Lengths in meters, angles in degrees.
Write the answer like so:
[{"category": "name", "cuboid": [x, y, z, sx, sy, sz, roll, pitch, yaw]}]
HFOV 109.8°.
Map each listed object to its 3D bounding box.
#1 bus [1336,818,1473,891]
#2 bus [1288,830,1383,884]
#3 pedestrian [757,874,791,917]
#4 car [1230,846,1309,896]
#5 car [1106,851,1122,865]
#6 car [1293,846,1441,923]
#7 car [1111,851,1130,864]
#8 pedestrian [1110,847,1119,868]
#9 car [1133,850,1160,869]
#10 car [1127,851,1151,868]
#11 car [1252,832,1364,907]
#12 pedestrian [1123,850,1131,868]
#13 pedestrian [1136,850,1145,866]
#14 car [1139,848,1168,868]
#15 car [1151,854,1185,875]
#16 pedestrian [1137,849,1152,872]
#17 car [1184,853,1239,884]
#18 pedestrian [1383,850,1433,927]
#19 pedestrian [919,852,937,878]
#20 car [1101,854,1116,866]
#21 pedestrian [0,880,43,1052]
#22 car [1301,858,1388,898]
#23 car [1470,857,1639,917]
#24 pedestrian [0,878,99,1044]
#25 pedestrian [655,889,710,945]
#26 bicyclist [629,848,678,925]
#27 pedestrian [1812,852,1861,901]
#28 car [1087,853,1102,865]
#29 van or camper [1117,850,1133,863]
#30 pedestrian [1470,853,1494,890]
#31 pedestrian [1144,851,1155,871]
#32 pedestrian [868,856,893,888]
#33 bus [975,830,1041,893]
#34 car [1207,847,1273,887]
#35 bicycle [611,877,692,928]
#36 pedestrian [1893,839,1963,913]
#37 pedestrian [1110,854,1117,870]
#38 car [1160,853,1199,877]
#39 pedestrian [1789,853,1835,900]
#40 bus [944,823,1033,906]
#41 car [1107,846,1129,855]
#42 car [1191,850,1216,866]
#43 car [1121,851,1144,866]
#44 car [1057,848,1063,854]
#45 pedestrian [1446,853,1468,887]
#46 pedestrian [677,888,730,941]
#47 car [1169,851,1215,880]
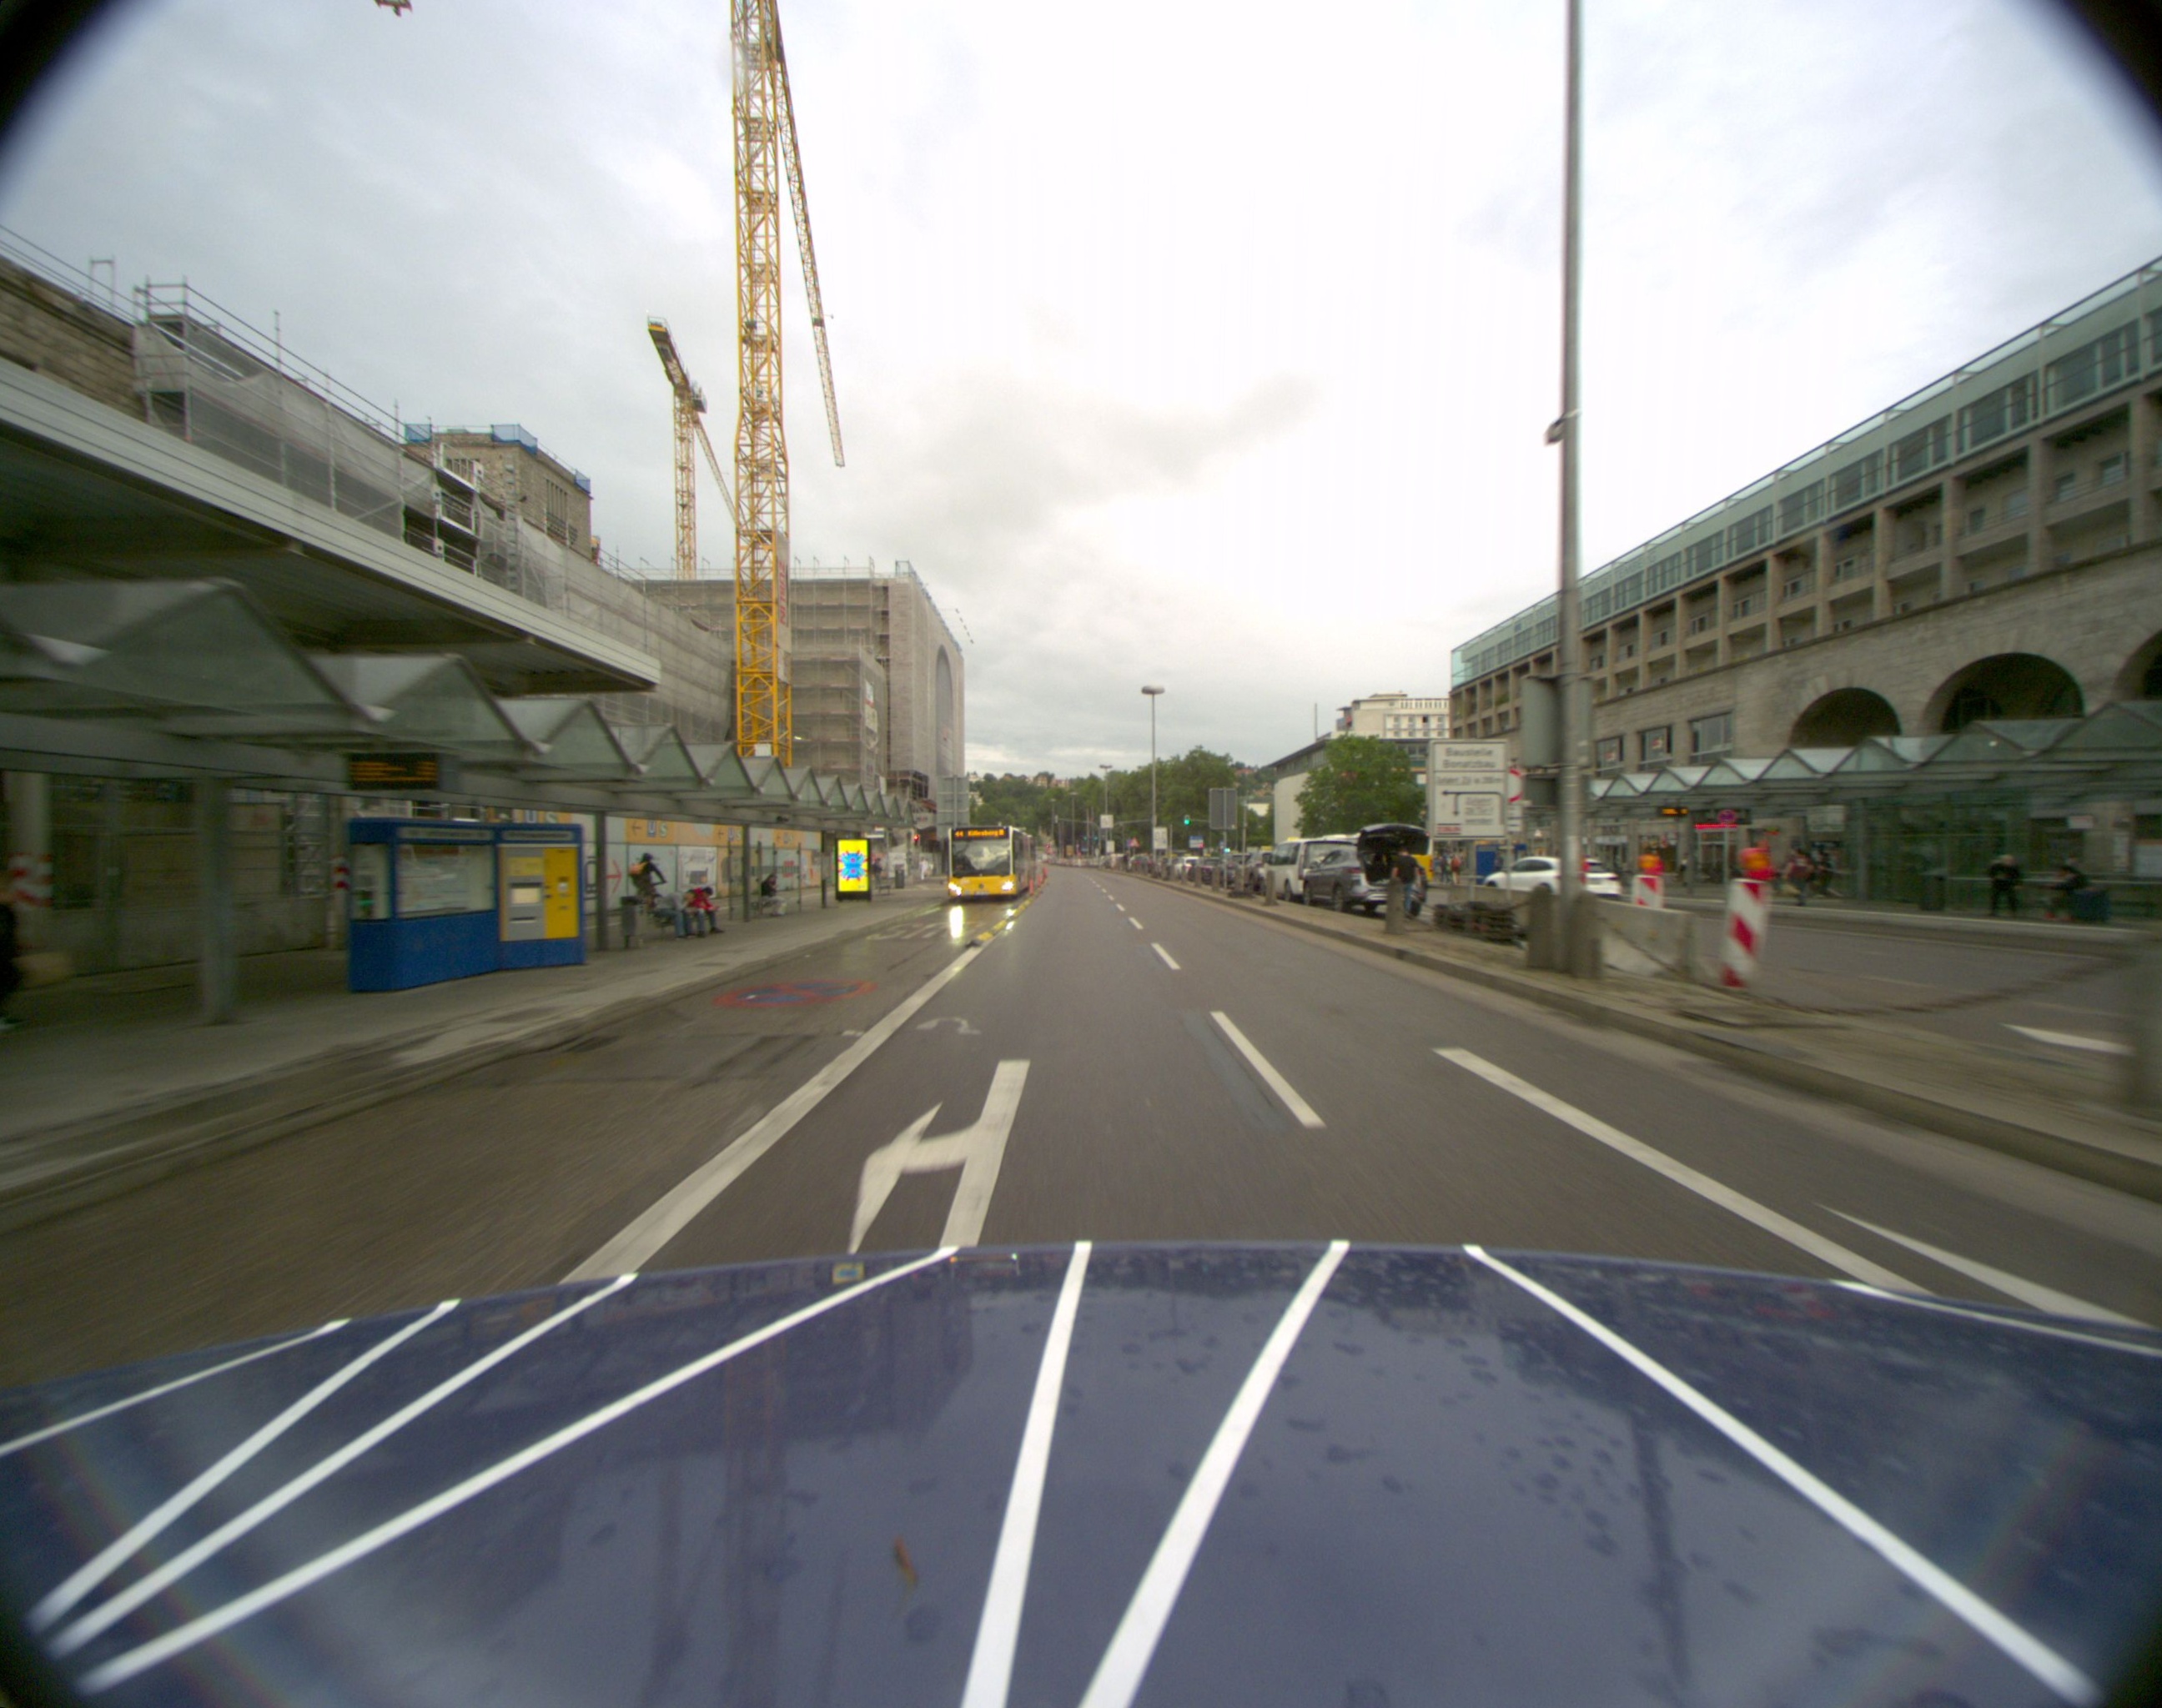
[{"category": "bus", "cuboid": [17.220, 0.054, 41.558, 2.885, 3.439, 10.573, -1, 0, -1]}, {"category": "bus", "cuboid": [17.143, 0.208, 52.231, 2.885, 3.356, 10.573, 0, 0, -1]}, {"category": "pedestrian", "cuboid": [-8.640, 1.169, 21.412, 0.666, 1.180, 0.666, 0, 0, 0]}, {"category": "car", "cuboid": [7.362, 0.614, 30.152, 1.934, 1.795, 4.582, 1, 0, 0]}, {"category": "car", "cuboid": [4.793, 0.624, 110.672, 1.908, 1.887, 4.522, -2, 0, -4]}, {"category": "car", "cuboid": [7.025, 0.694, 19.258, 1.998, 1.712, 4.782, 0, 0, 1]}, {"category": "car", "cuboid": [5.372, 0.552, 103.876, 1.908, 1.689, 4.499, -2, 0, -4]}, {"category": "pedestrian", "cuboid": [3.348, 0.347, 75.886, 0.725, 1.996, 0.772, -2, 0, -1]}, {"category": "car", "cuboid": [6.143, 0.467, 71.520, 1.935, 1.680, 4.681, 1, 0, -2]}, {"category": "car", "cuboid": [5.911, 0.511, 77.670, 1.935, 1.680, 4.681, 1, 0, -2]}, {"category": "car", "cuboid": [7.173, 0.450, 24.650, 1.998, 2.166, 5.544, 0, 0, 0]}, {"category": "pedestrian", "cuboid": [4.520, 0.503, 75.067, 0.700, 1.744, 0.711, -1, 0, -1]}, {"category": "pedestrian", "cuboid": [6.745, 0.498, 85.534, 0.784, 1.765, 0.606, 2, 0, -13]}, {"category": "car", "cuboid": [6.288, 0.363, 66.675, 1.935, 1.680, 4.681, 1, 0, -2]}, {"category": "car", "cuboid": [6.781, 0.791, 59.954, 1.935, 1.567, 5.260, 1, 0, -2]}, {"category": "pedestrian", "cuboid": [4.982, 0.525, 59.562, 1.053, 1.758, 0.616, -1, 1, -2]}, {"category": "car", "cuboid": [7.060, 0.732, 41.590, 1.935, 1.567, 5.051, 1, 0, -2]}, {"category": "pedestrian", "cuboid": [7.132, 0.742, 16.583, 0.762, 1.643, 0.763, 0, 0, 0]}, {"category": "pedestrian", "cuboid": [-11.519, 0.827, 57.252, 1.028, 1.843, 0.960, -2, 0, 1]}, {"category": "car", "cuboid": [4.281, 0.892, 120.057, 1.920, 1.840, 4.564, 0, -1, -5]}, {"category": "pedestrian", "cuboid": [-10.536, 1.058, 6.988, 0.908, 1.597, 0.745, -2, 0, 1]}, {"category": "car", "cuboid": [11.138, 0.971, 32.494, 1.967, 1.555, 4.835, 2, -1, -1]}, {"category": "car", "cuboid": [13.907, 0.916, 22.727, 1.967, 1.555, 4.835, 2, -1, -1]}, {"category": "pedestrian", "cuboid": [-10.884, 1.056, 7.782, 0.708, 1.598, 0.730, 0, 0, 0]}, {"category": "pedestrian", "cuboid": [-8.001, 1.252, 15.289, 0.729, 1.059, 0.709, 0, 0, 0]}, {"category": "bicyclist", "cuboid": [-11.235, 0.837, 19.993, 0.825, 1.970, 0.818, 0, 0, -2]}, {"category": "pedestrian", "cuboid": [26.361, 0.776, 26.523, 0.758, 1.645, 0.894, -2, 0, 1]}, {"category": "car", "cuboid": [2.156, 0.843, 119.905, 1.999, 1.806, 4.810, 0, -1, -4]}, {"category": "van or camper", "cuboid": [8.689, 0.480, 151.308, 2.000, 2.499, 5.366, 2, 0, -8]}, {"category": "pedestrian", "cuboid": [18.914, 0.807, 35.867, 0.625, 1.715, 0.856, -2, 0, 0]}, {"category": "pedestrian", "cuboid": [5.449, 0.556, 60.877, 0.724, 1.597, 0.996, -2, 0, -1]}, {"category": "pedestrian", "cuboid": [-10.449, 0.929, 39.649, 0.907, 1.625, 0.829, -1, 0, 27]}, {"category": "bus", "cuboid": [-3.856, 0.379, 42.314, 2.762, 3.051, 9.078, -2, 0, 0]}, {"category": "car", "cuboid": [7.311, 0.569, 35.433, 1.935, 1.689, 4.884, 1, 0, -1]}, {"category": "bicycle", "cuboid": [-11.234, 1.246, 19.995, 0.817, 1.191, 2.405, 0, 0, -2]}, {"category": "pedestrian", "cuboid": [23.382, 0.604, 20.997, 0.844, 2.002, 0.960, 0, 0, 0]}, {"category": "pedestrian", "cuboid": [3.597, 0.867, 84.339, 0.653, 1.701, 0.593, -2, 0, -3]}, {"category": "car", "cuboid": [6.861, 0.718, 53.574, 1.935, 1.567, 5.011, 1, 0, -2]}, {"category": "pedestrian", "cuboid": [26.389, 0.791, 27.433, 0.758, 1.645, 0.894, -2, 0, 1]}, {"category": "bus", "cuboid": [-3.773, 0.392, 33.257, 2.762, 3.048, 8.992, -2, 0, 0]}, {"category": "car", "cuboid": [8.435, -0.754, 171.753, 4.830, 2.001, 2.036, -2, -1, 1]}, {"category": "car", "cuboid": [13.865, 0.441, 86.080, 1.935, 1.680, 4.681, 1, 0, -2]}, {"category": "car", "cuboid": [5.694, 0.529, 84.532, 2.020, 1.611, 4.842, -1, 0, -1]}, {"category": "car", "cuboid": [-6.008, -0.771, 213.254, 1.682, 1.533, 3.174, 0, -1, -1]}, {"category": "pedestrian", "cuboid": [19.217, 0.812, 38.825, 0.625, 1.715, 0.856, -2, 0, 0]}, {"category": "pedestrian", "cuboid": [-7.989, 1.267, 16.104, 0.729, 1.059, 0.808, 0, 0, 0]}, {"category": "car", "cuboid": [6.849, 0.671, 47.421, 1.982, 1.649, 5.191, 1, 0, -2]}]
